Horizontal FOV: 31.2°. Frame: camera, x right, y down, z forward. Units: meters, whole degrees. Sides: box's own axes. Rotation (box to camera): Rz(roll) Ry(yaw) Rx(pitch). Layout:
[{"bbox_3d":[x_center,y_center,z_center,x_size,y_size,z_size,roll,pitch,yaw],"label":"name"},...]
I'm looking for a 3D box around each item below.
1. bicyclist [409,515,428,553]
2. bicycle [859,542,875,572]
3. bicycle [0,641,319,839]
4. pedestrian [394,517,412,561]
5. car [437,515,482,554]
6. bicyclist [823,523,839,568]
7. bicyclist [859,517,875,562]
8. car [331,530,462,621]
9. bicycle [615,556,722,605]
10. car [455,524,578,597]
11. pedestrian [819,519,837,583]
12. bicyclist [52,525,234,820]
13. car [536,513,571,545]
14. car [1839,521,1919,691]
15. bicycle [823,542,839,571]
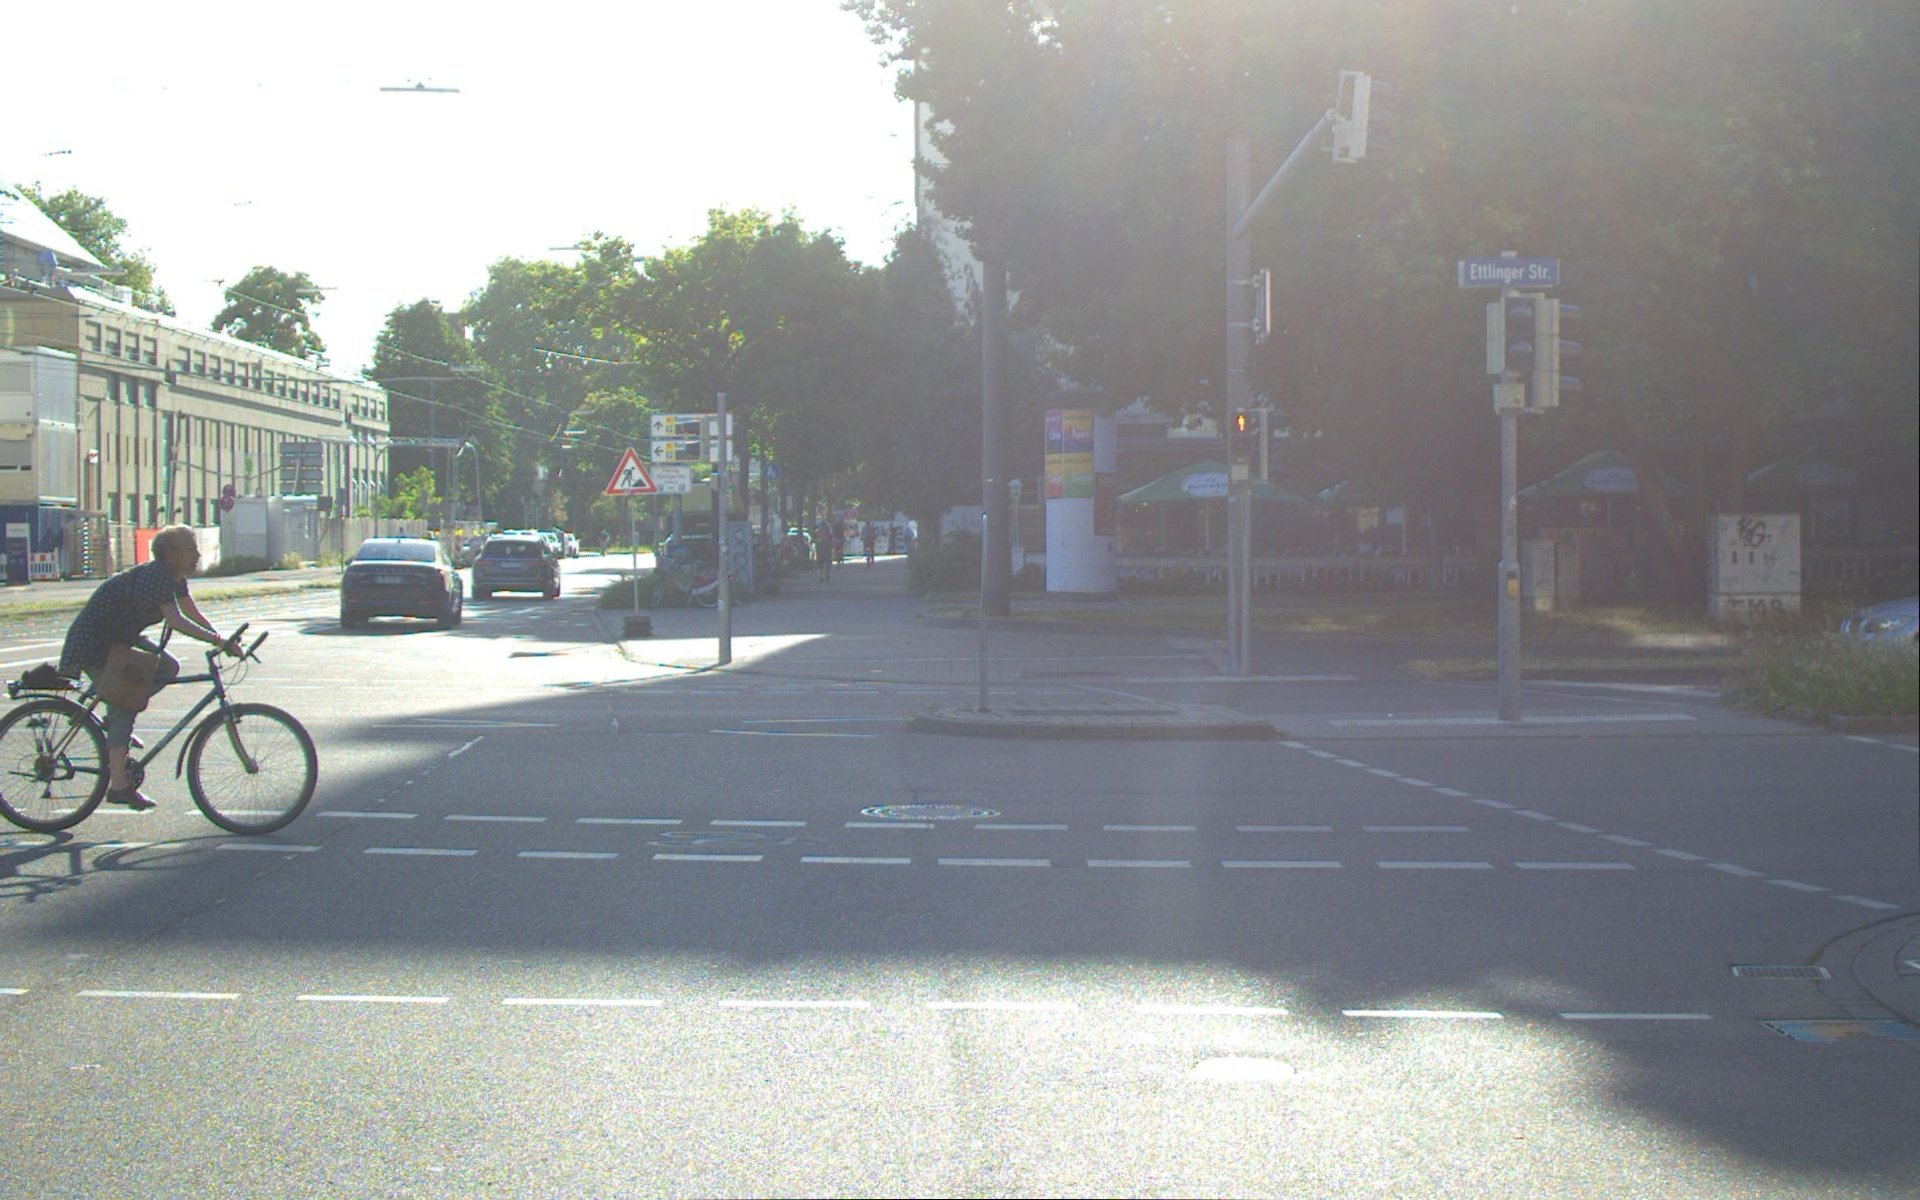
[{"bbox_3d":[-19.822,-2.402,125.828,0.596,1.372,0.638,1,0,-2],"label":"bicyclist"},{"bbox_3d":[-3.454,-1.607,128.146,0.575,1.073,1.831,0,1,-1],"label":"bicycle"},{"bbox_3d":[-4.119,0.690,17.155,1.742,0.932,0.646,-1,1,-5],"label":"bicycle"},{"bbox_3d":[-25.684,-2.818,158.539,0.674,2.007,0.751,1,0,-3],"label":"pedestrian"},{"bbox_3d":[-22.776,-2.956,156.444,1.692,1.712,4.248,1,1,-4],"label":"car"},{"bbox_3d":[-4.796,-2.023,127.979,0.569,1.685,0.700,0,1,-1],"label":"bicyclist"},{"bbox_3d":[-3.451,-2.259,128.109,0.569,1.685,0.700,0,1,-1],"label":"bicyclist"},{"bbox_3d":[-9.335,-0.428,57.208,1.660,1.450,4.433,1,1,-3],"label":"car"},{"bbox_3d":[-5.730,-0.379,67.480,2.018,0.888,0.650,-2,0,27],"label":"bicycle"},{"bbox_3d":[-10.249,-0.941,79.790,1.892,1.560,4.807,3,1,3],"label":"car"},{"bbox_3d":[-3.765,-1.395,97.973,0.463,1.807,0.503,0,1,-5],"label":"pedestrian"},{"bbox_3d":[-4.071,0.349,17.164,0.798,1.446,0.617,0,1,-5],"label":"bicyclist"},{"bbox_3d":[-23.016,-4.018,194.690,1.692,1.712,4.248,1,1,-4],"label":"car"},{"bbox_3d":[10.755,0.024,33.411,3.993,1.605,1.650,-1,1,-1],"label":"car"},{"bbox_3d":[-4.805,-1.622,127.937,0.575,1.073,1.831,0,1,-1],"label":"bicycle"}]
